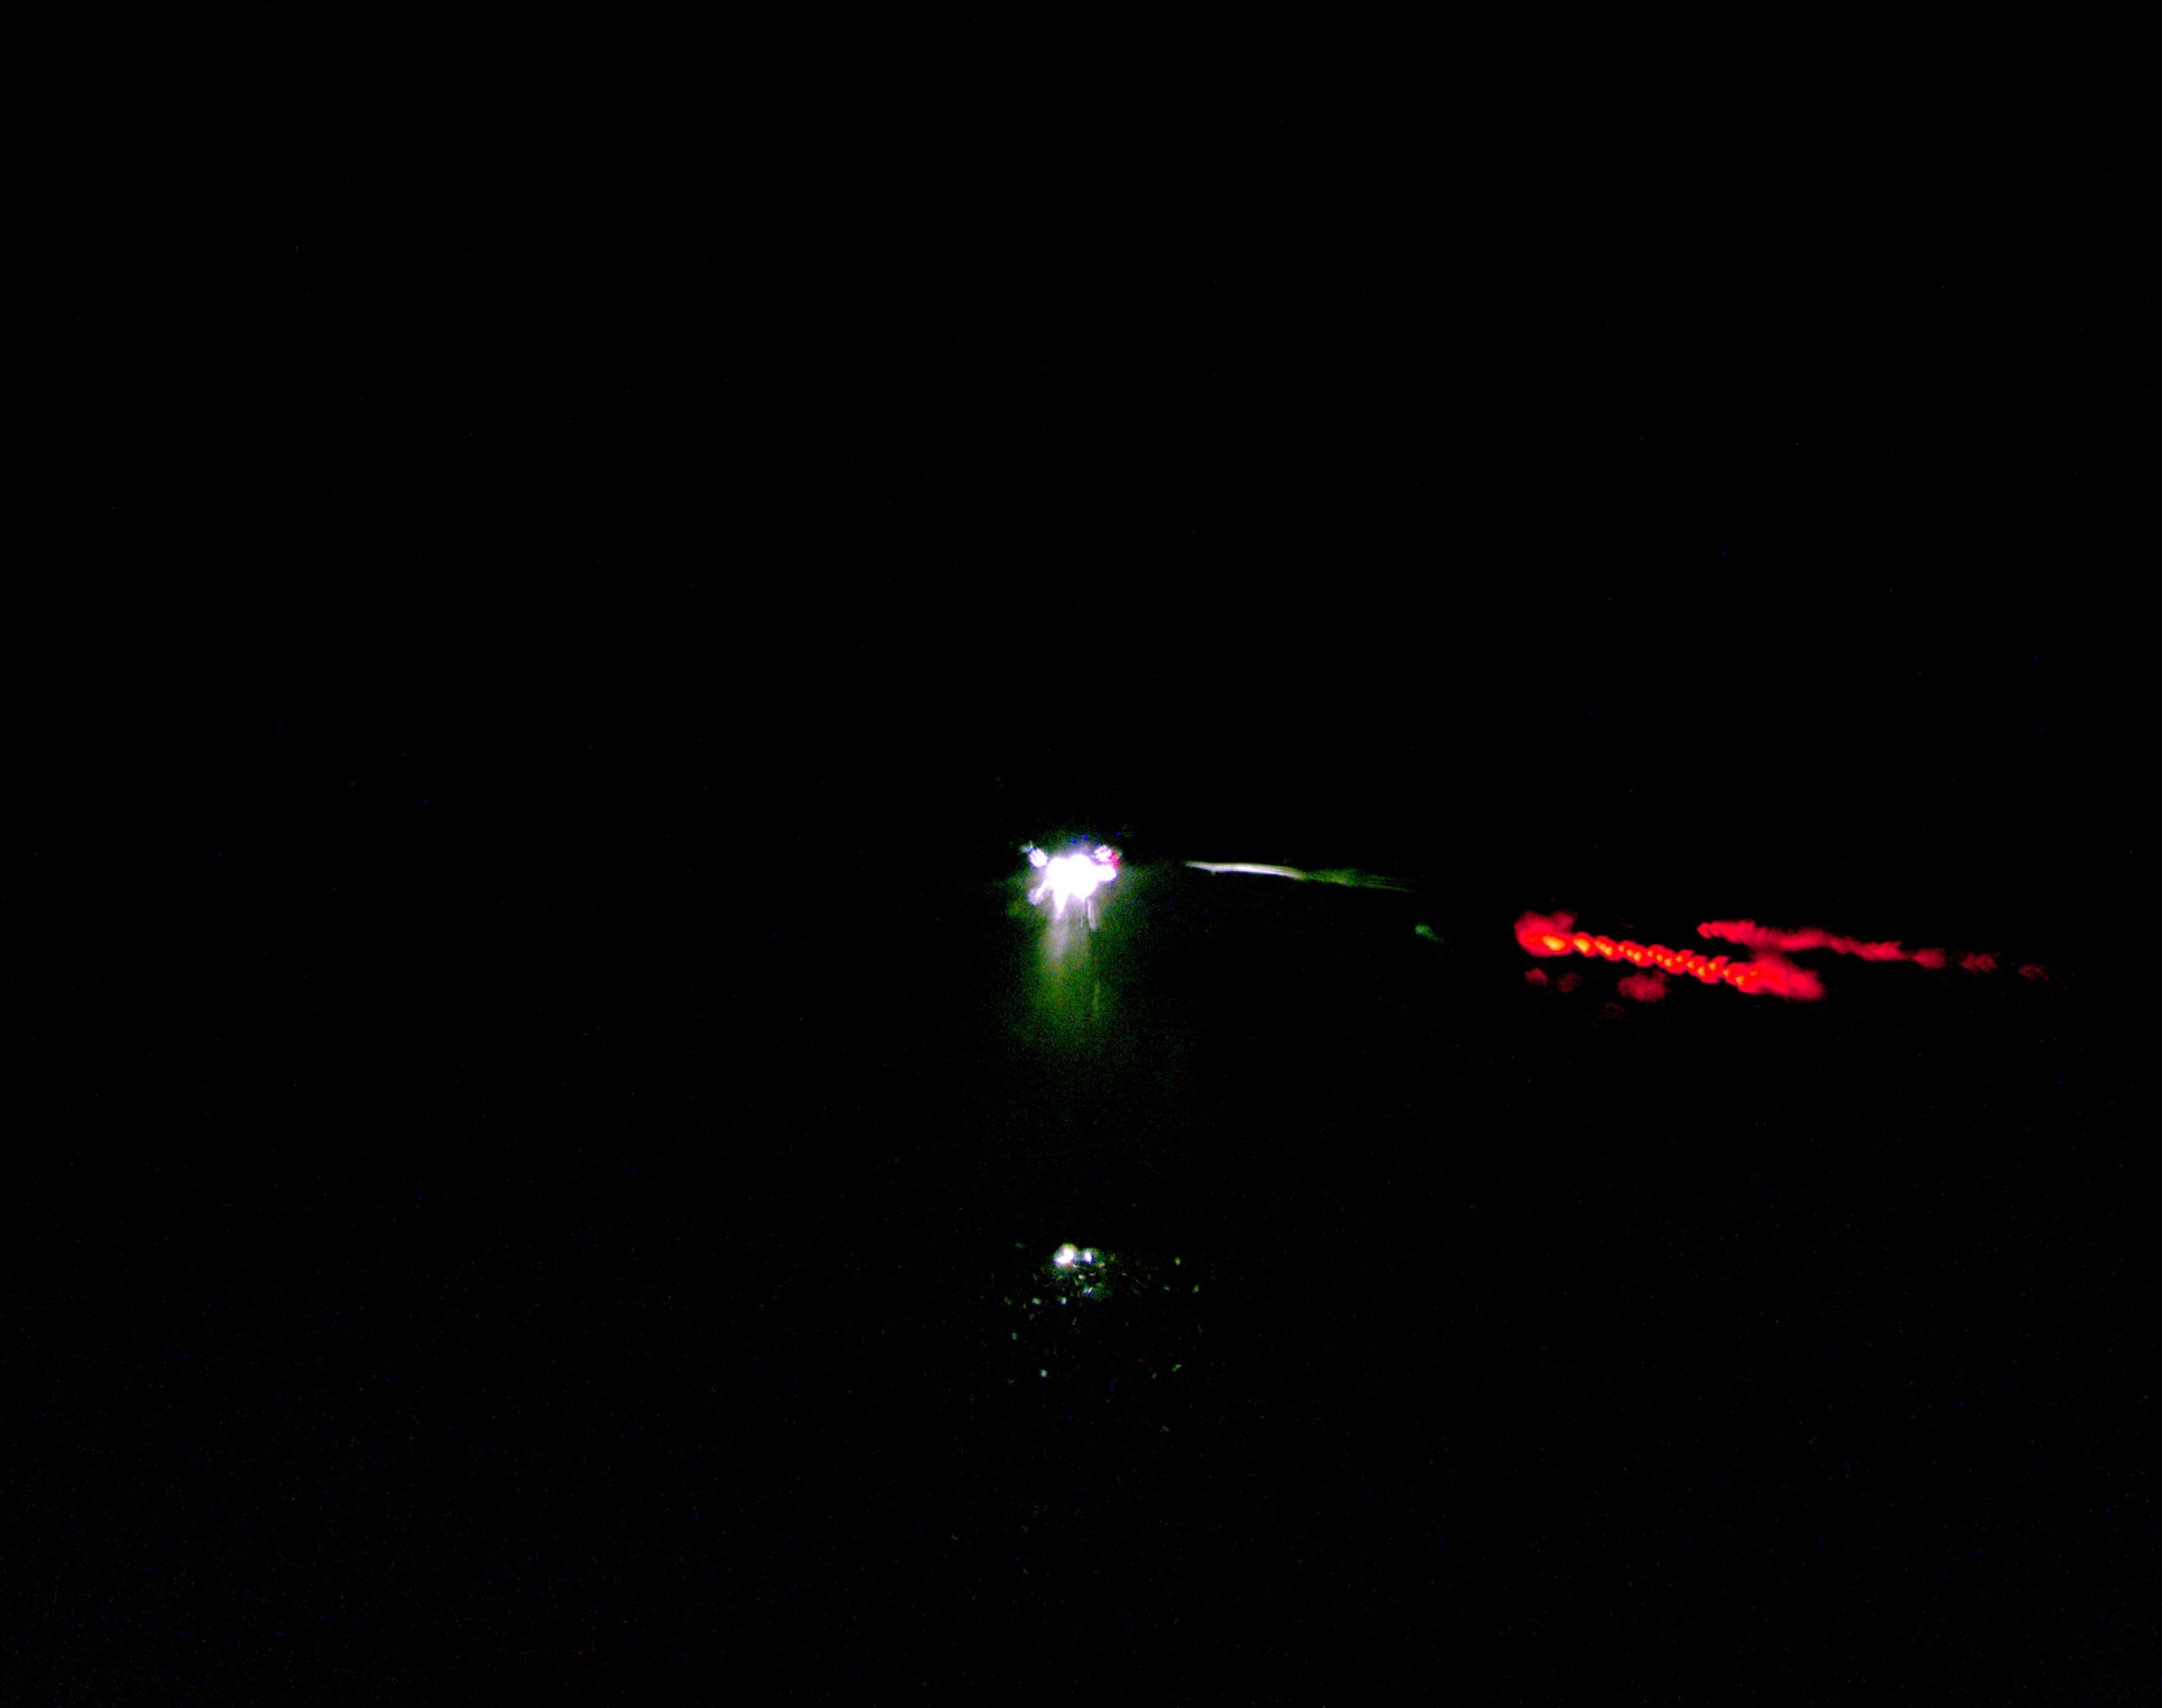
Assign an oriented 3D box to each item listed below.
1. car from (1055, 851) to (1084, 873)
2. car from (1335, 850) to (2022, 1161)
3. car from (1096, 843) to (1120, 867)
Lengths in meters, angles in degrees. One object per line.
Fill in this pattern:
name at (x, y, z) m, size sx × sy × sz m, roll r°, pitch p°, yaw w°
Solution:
car at (-0.921, 0.582, 58.081) m, size 1.777 × 1.444 × 4.134 m, roll -6°, pitch 1°, yaw -4°
car at (3.583, 0.723, 5.777) m, size 1.922 × 1.455 × 4.259 m, roll -1°, pitch 0°, yaw 1°
car at (2.360, 0.050, 67.883) m, size 1.859 × 1.929 × 3.999 m, roll -4°, pitch 1°, yaw 0°
